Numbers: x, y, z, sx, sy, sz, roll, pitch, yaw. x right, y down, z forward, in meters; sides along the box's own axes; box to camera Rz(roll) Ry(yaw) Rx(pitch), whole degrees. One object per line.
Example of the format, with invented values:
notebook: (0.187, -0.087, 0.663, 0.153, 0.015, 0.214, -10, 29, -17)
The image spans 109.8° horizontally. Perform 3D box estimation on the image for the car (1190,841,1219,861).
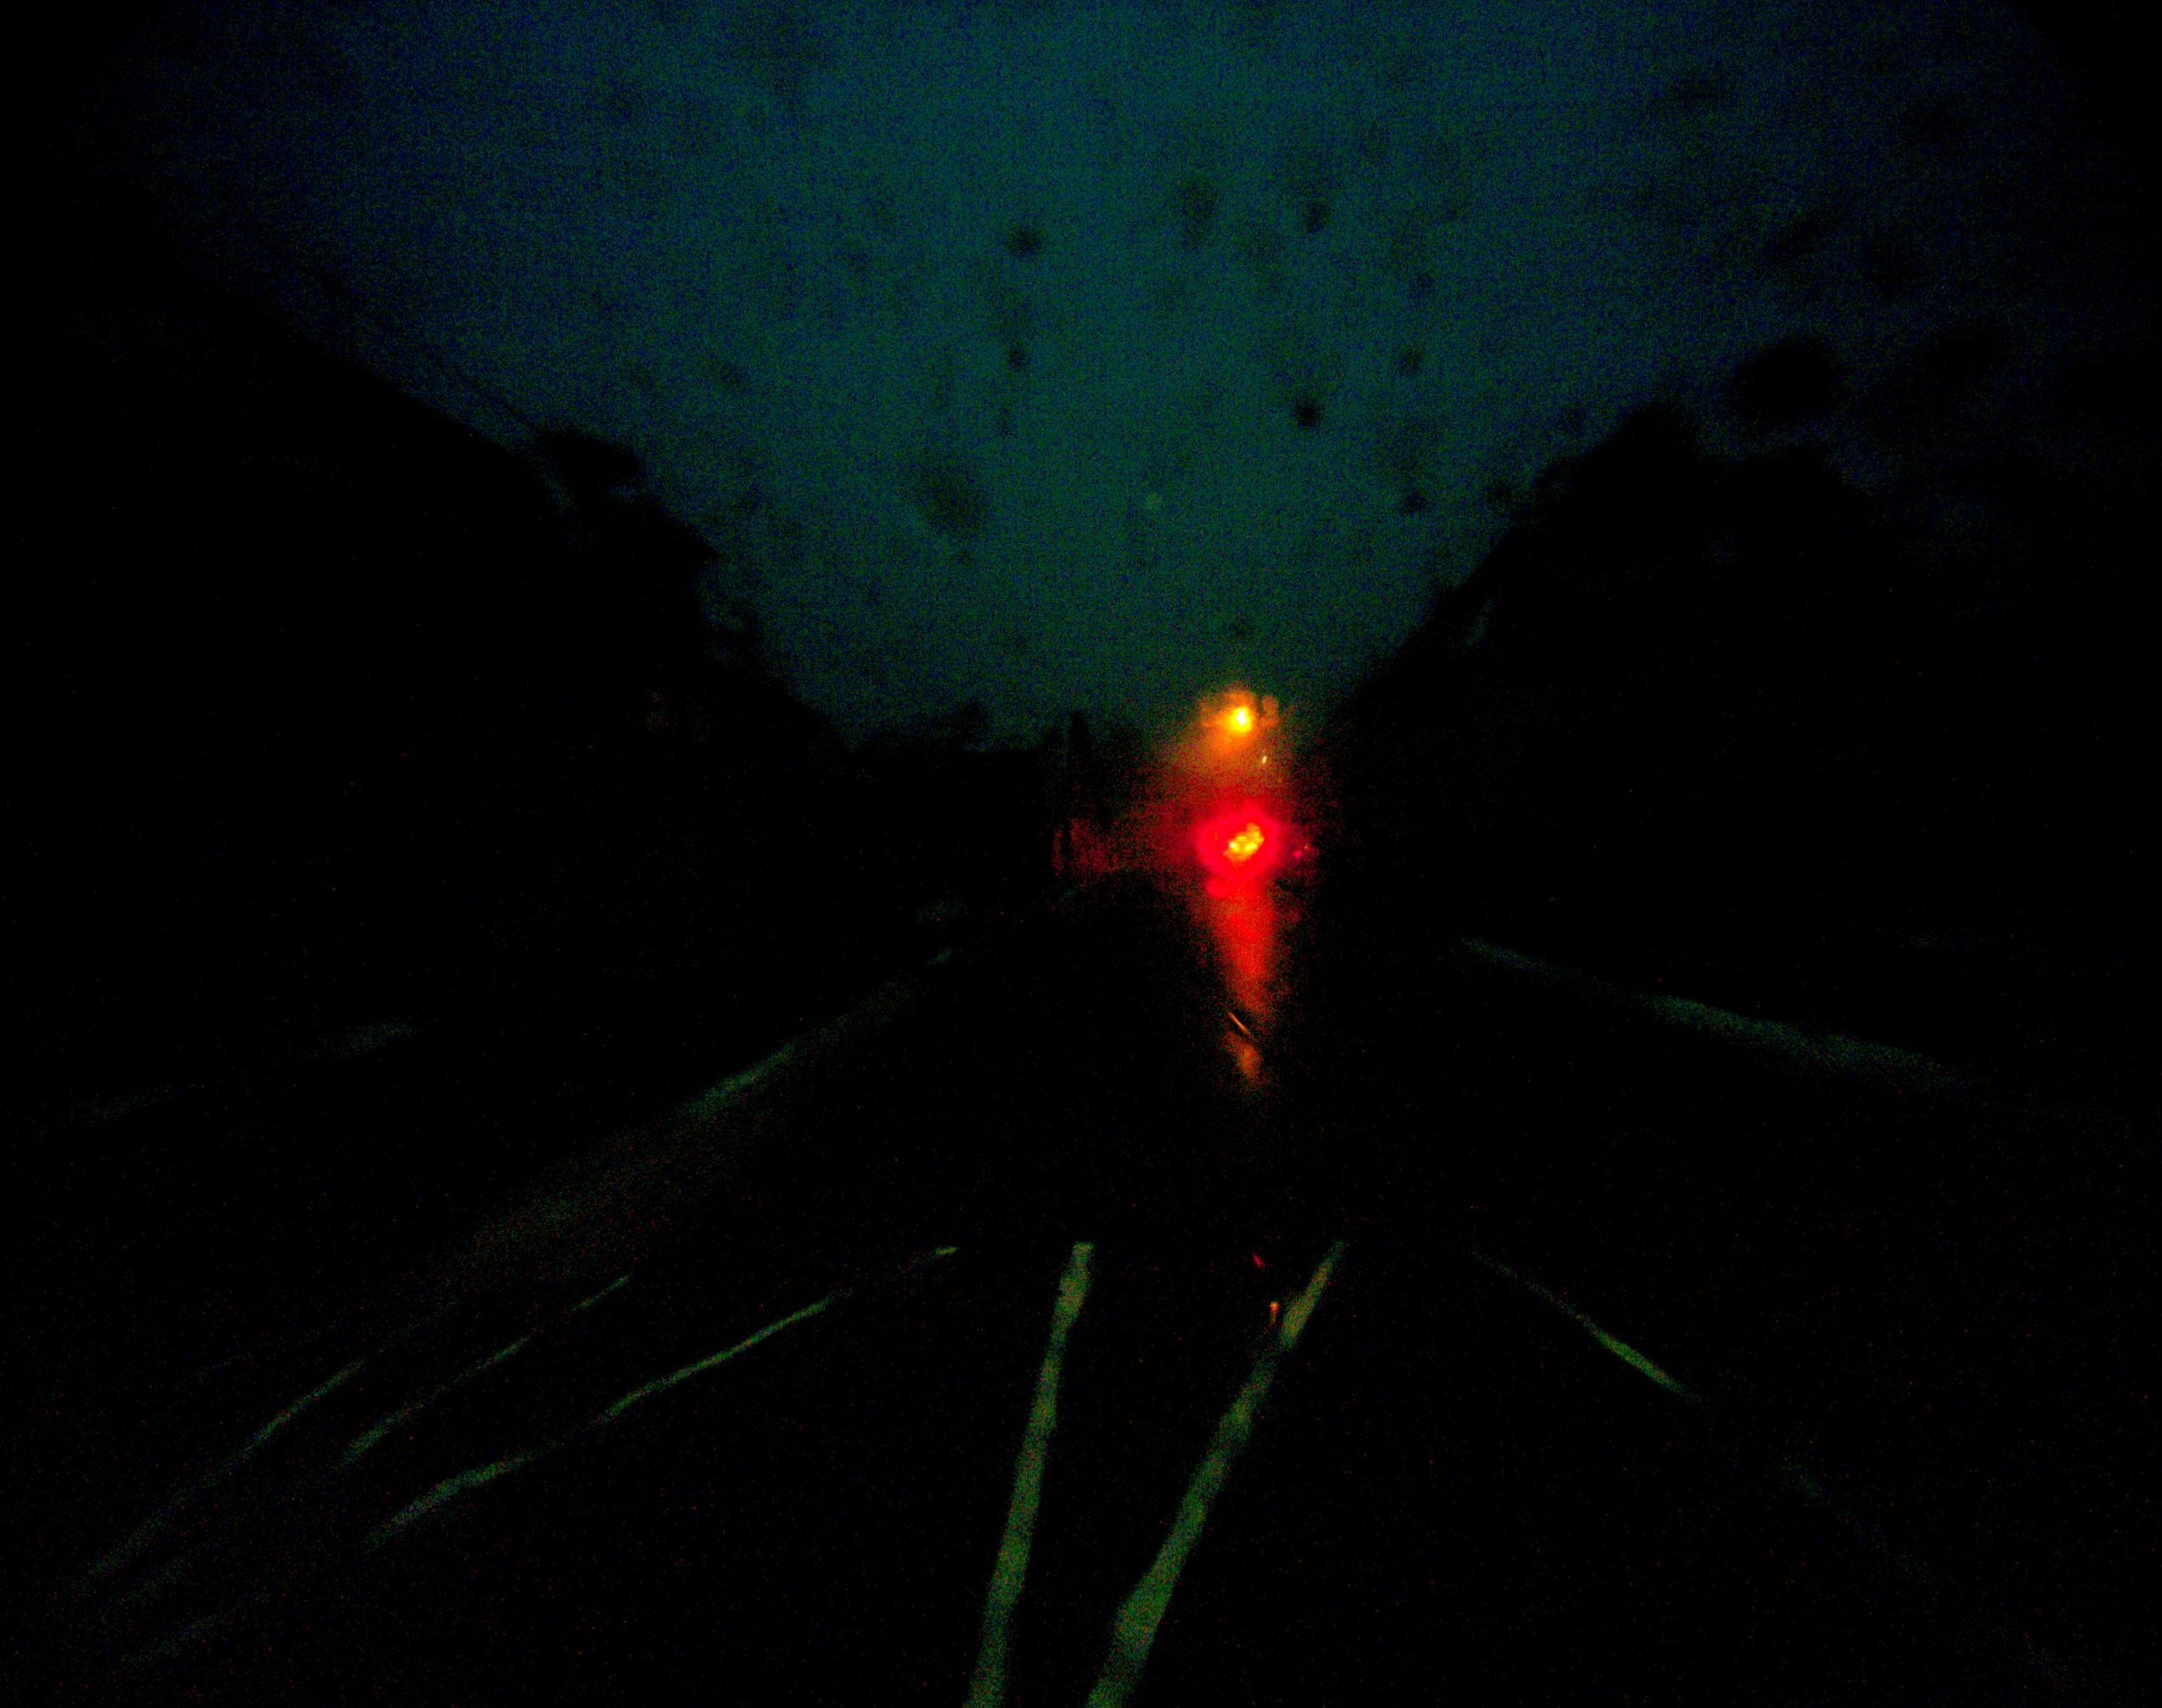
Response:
car: (11.110, -0.287, 68.359, 1.913, 1.473, 4.285, -2, 3, 18)

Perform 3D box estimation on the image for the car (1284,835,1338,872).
car: (10.870, -0.071, 36.210, 1.997, 1.514, 4.193, -4, 1, 11)

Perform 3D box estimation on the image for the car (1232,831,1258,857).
car: (12.576, -0.784, 58.281, 1.843, 1.678, 4.479, -2, 3, 13)
